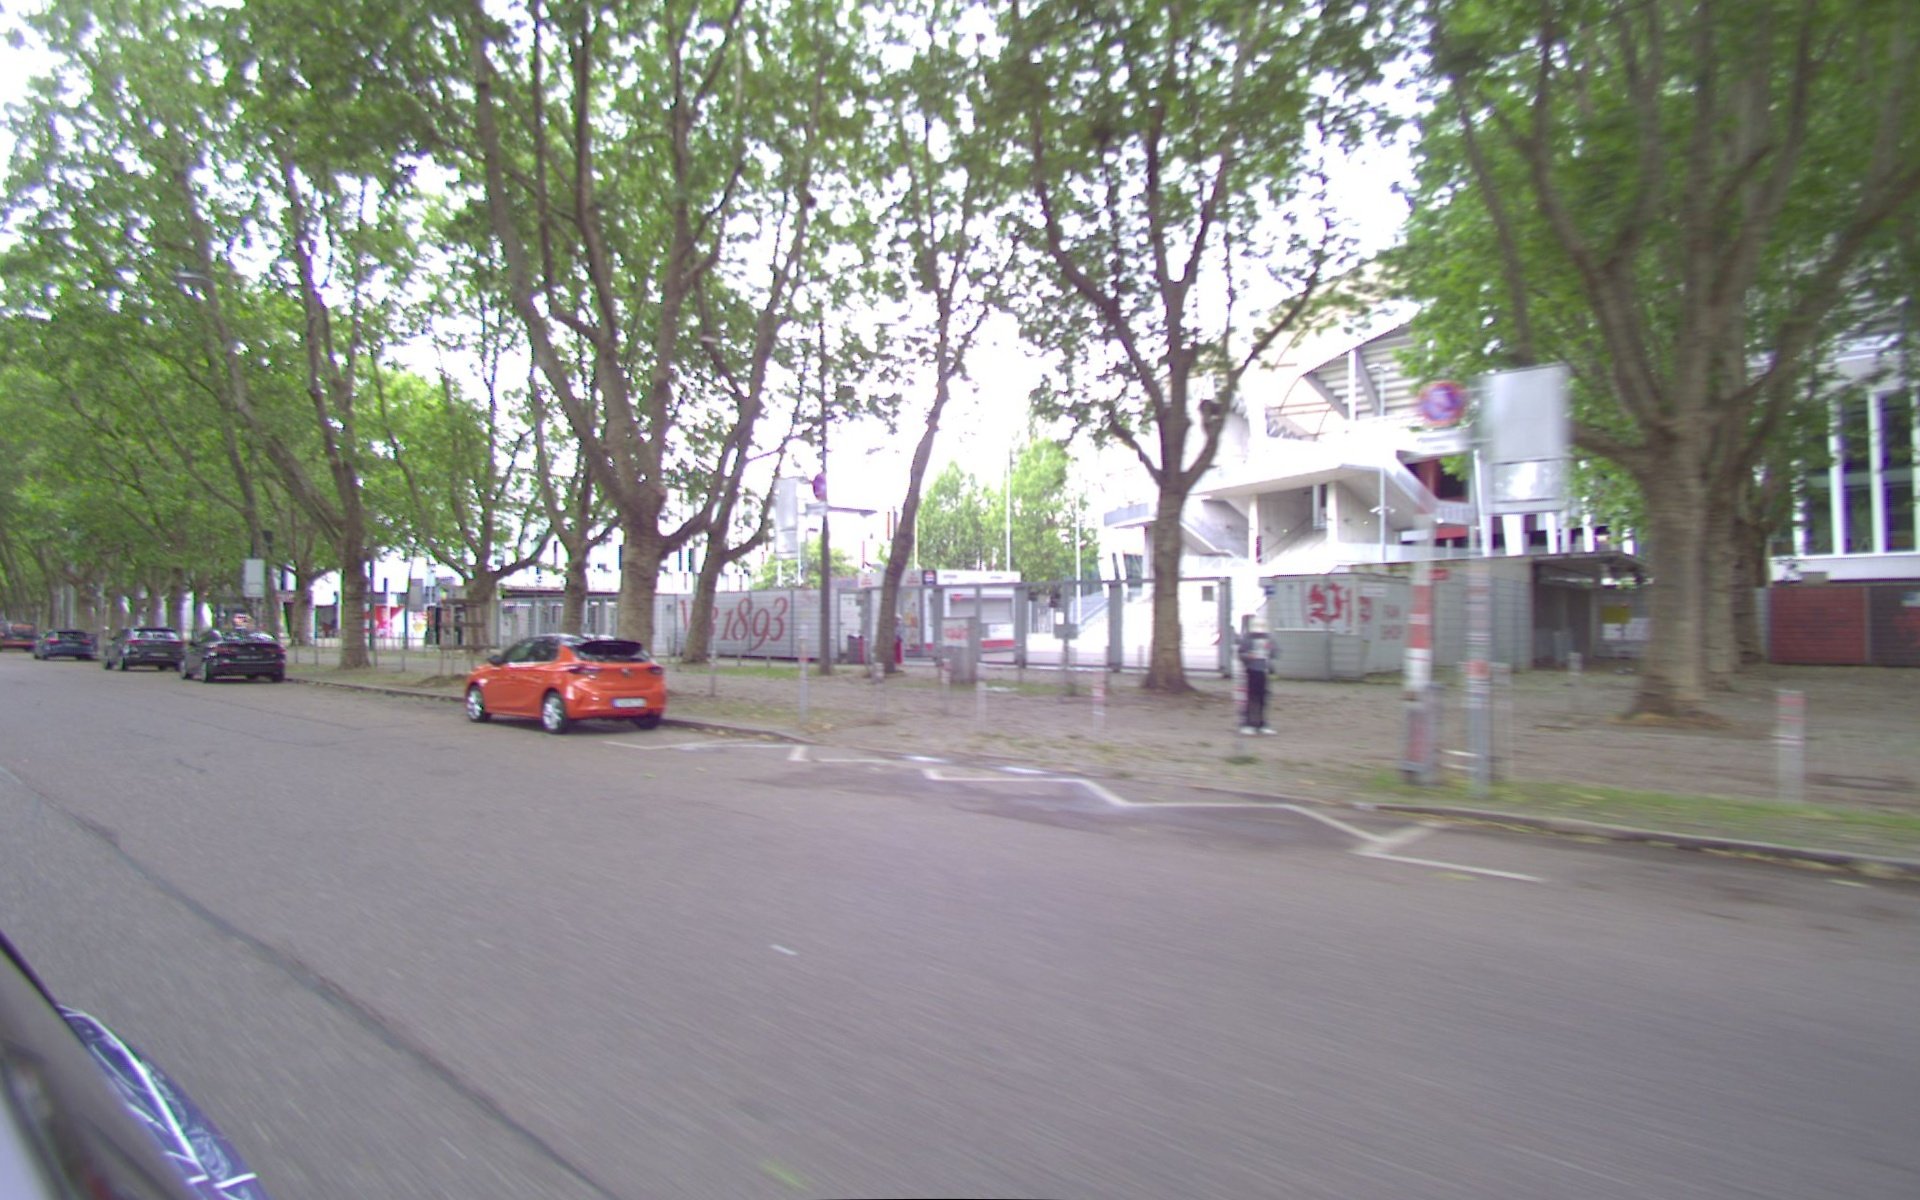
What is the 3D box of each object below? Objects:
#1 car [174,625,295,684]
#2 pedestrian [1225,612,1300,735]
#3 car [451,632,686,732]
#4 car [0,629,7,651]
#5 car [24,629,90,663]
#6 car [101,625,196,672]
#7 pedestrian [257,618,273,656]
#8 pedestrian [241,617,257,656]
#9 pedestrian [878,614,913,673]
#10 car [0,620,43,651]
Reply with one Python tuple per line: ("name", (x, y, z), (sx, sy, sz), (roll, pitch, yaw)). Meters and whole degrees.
("car", (-19.923, 1.441, 27.715), (4.627, 1.477, 1.807), (-1, -3, 43))
("pedestrian", (4.162, 0.982, 13.948), (0.585, 1.632, 0.793), (1, -2, -40))
("car", (-6.207, 1.187, 15.855), (3.998, 1.364, 1.789), (-2, -2, 41))
("car", (-65.577, 2.643, 67.876), (4.749, 1.413, 1.884), (-2, -5, 41))
("car", (-41.746, 2.091, 46.777), (4.572, 1.497, 1.706), (-2, -2, 41))
("car", (-28.275, 1.654, 35.241), (4.149, 1.538, 1.858), (-2, -3, 41))
("pedestrian", (-32.715, 1.727, 47.645), (0.567, 1.755, 0.769), (1, -2, -34))
("pedestrian", (-33.216, 1.699, 47.273), (0.569, 1.783, 0.769), (1, -2, -34))
("pedestrian", (-1.738, 1.156, 27.295), (0.660, 1.555, 0.660), (-2, -2, 42))
("car", (-55.091, 2.056, 58.860), (4.635, 1.764, 1.929), (-1, -4, 40))
